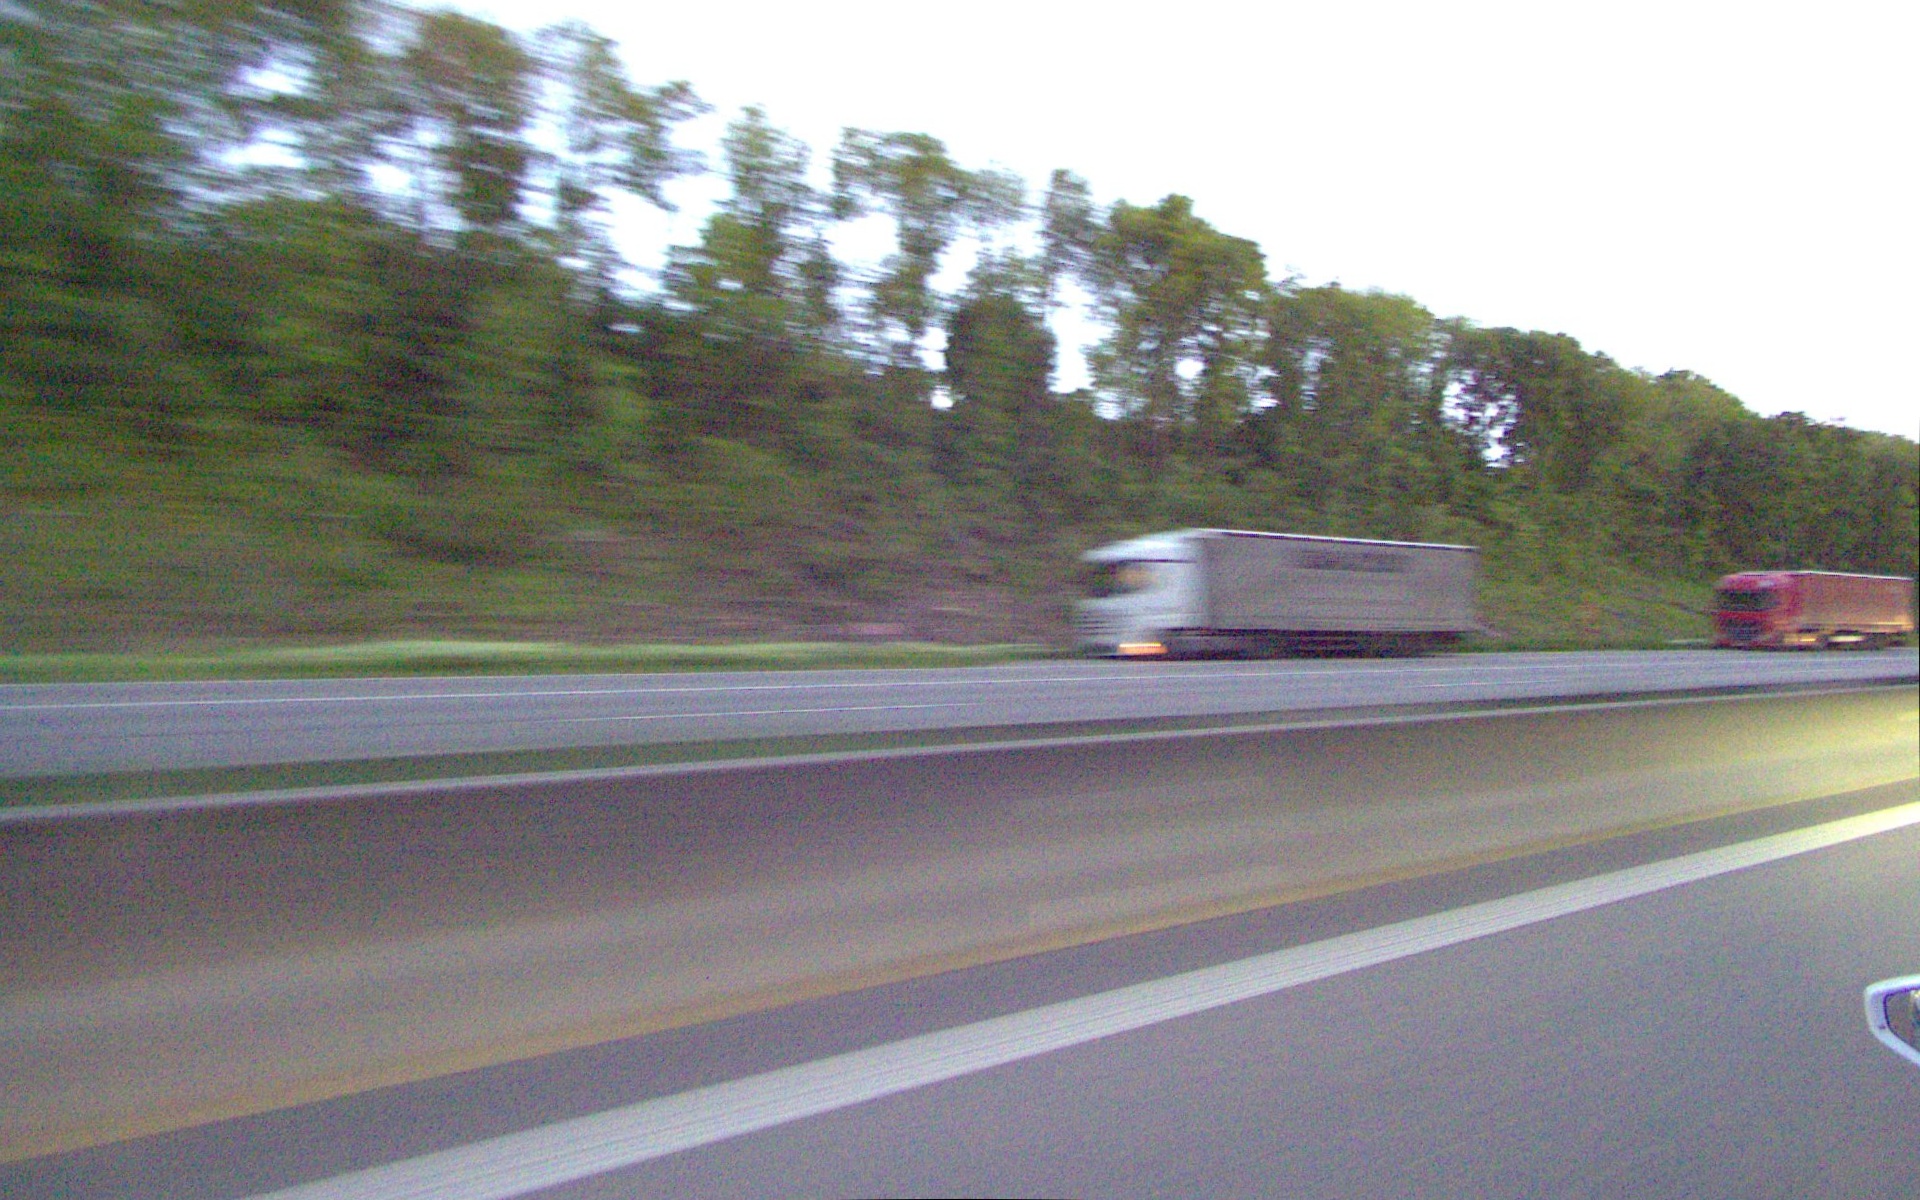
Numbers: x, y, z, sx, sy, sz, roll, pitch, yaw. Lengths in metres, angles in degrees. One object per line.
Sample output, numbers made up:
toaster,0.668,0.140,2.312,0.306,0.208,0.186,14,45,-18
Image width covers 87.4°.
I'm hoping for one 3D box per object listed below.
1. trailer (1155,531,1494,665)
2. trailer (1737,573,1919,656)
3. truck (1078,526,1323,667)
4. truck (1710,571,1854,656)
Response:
trailer,13.293,0.129,35.766,13.571,4.159,3.177,2,-1,-29
trailer,48.307,0.930,55.424,14.007,4.159,3.178,2,-1,-28
truck,7.910,0.003,32.808,7.594,4.159,3.178,2,-1,-28
truck,43.003,0.780,52.520,7.594,4.159,3.178,2,-1,-28
